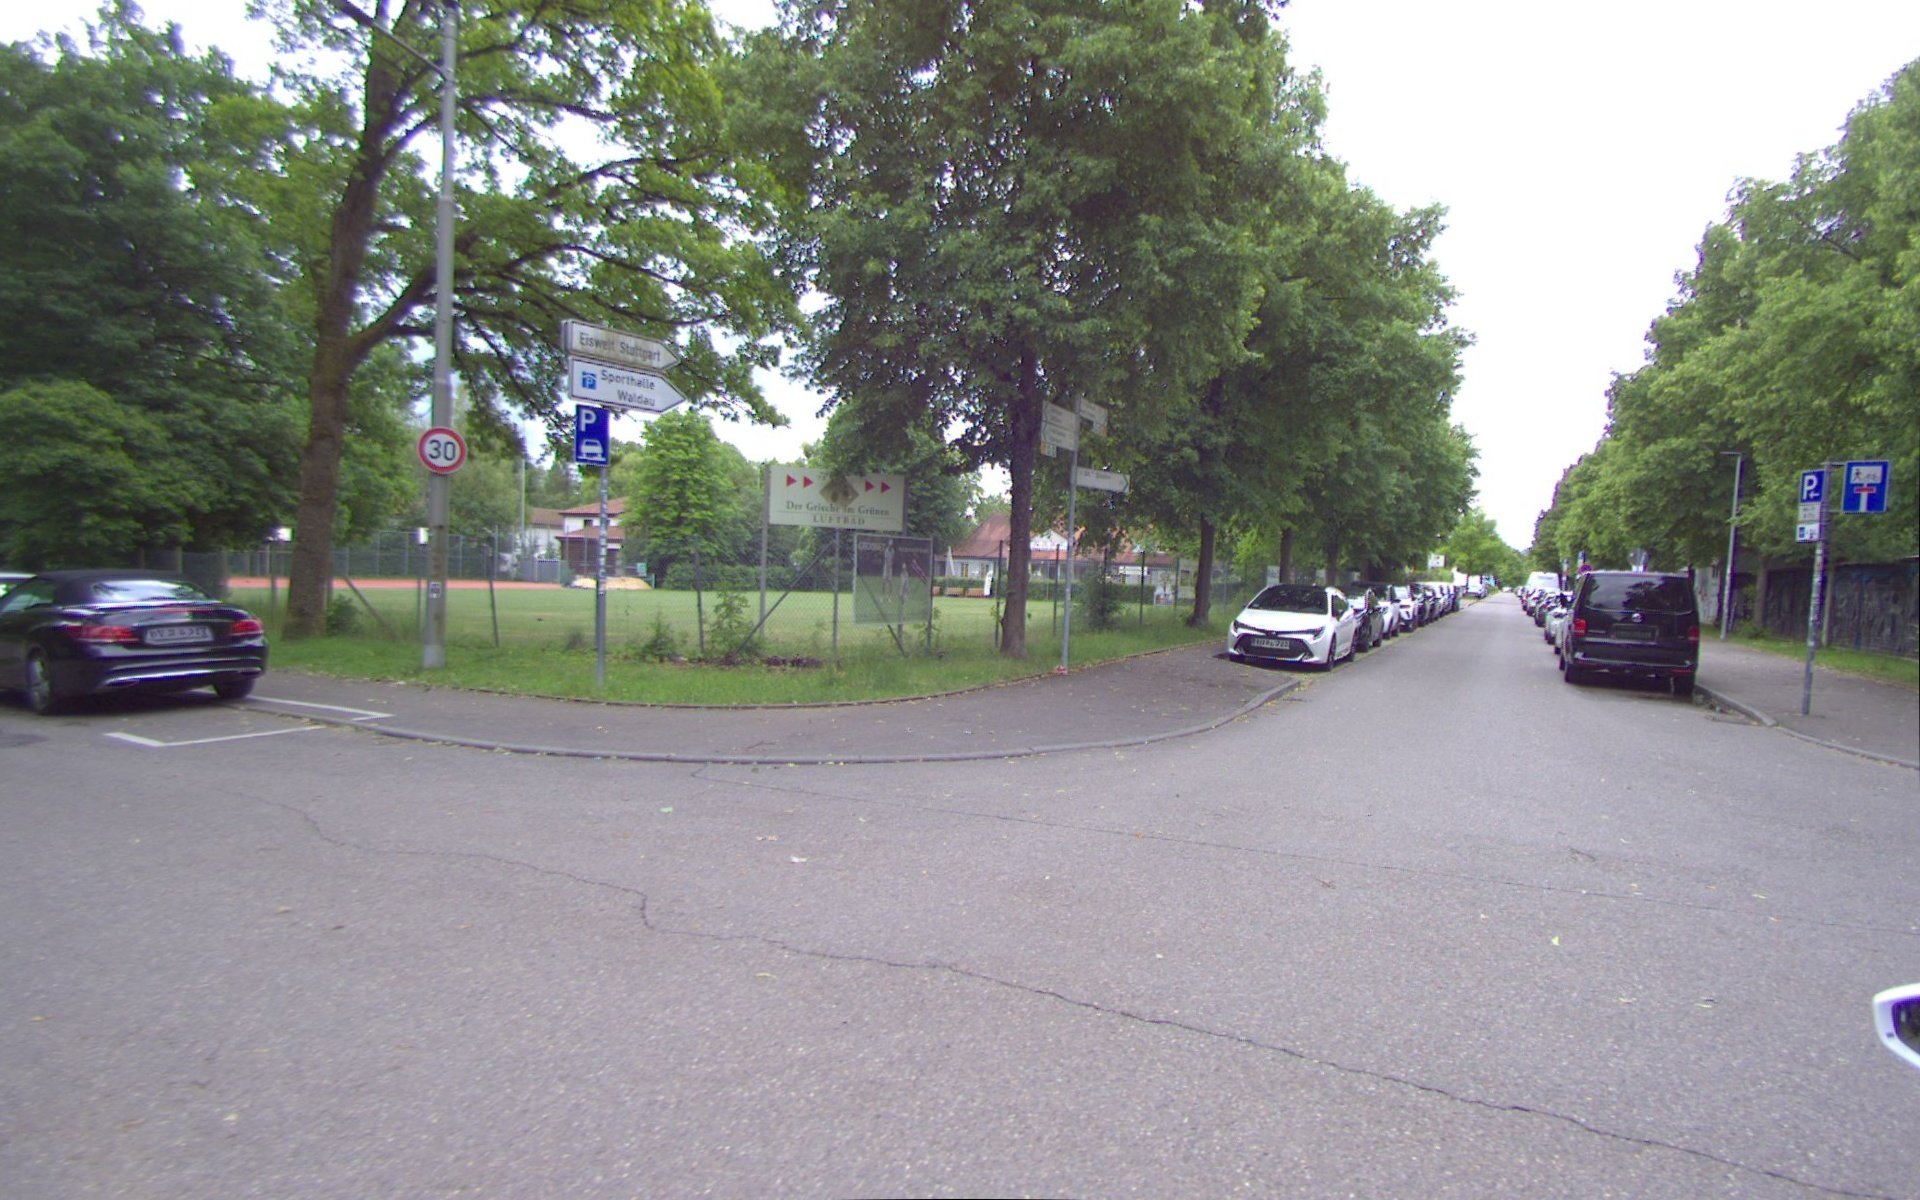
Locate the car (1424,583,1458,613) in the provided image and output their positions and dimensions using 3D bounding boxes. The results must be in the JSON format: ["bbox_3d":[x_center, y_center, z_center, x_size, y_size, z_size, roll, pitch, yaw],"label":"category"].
[{"bbox_3d":[26.956,-0.131,56.267,1.569,1.580,3.189,2,1,28],"label":"car"}]

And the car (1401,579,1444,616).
[{"bbox_3d":[21.961,-0.128,47.644,1.569,1.580,3.189,5,3,28],"label":"car"}]

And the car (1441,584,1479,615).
[{"bbox_3d":[25.626,-0.046,51.393,1.448,1.501,3.181,2,2,31],"label":"car"}]

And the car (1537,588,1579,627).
[{"bbox_3d":[25.502,0.297,42.848,1.448,1.552,3.181,2,2,31],"label":"car"}]

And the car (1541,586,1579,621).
[{"bbox_3d":[28.336,0.137,47.459,1.448,1.552,3.181,2,2,31],"label":"car"}]

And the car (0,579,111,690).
[{"bbox_3d":[-13.723,0.427,13.886,4.144,1.377,1.688,0,2,30],"label":"car"}]

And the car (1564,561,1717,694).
[{"bbox_3d":[11.935,0.400,17.867,1.959,2.041,4.098,2,2,31],"label":"car"}]

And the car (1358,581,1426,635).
[{"bbox_3d":[14.591,0.232,33.845,1.666,1.617,3.993,5,3,28],"label":"car"}]

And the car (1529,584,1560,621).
[{"bbox_3d":[33.154,0.149,56.941,1.448,1.994,3.181,2,2,31],"label":"car"}]

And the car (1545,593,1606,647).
[{"bbox_3d":[18.662,0.565,30.495,1.448,1.501,3.181,2,2,31],"label":"car"}]

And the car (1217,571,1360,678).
[{"bbox_3d":[6.150,0.374,18.481,1.738,1.617,4.210,5,3,27],"label":"car"}]

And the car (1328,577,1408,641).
[{"bbox_3d":[12.036,0.231,29.514,1.666,1.617,3.993,5,3,28],"label":"car"}]

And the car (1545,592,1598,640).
[{"bbox_3d":[21.216,0.518,34.899,1.448,1.552,3.181,2,2,31],"label":"car"}]

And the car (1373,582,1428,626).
[{"bbox_3d":[16.678,0.116,37.953,1.569,1.477,3.189,5,3,28],"label":"car"}]

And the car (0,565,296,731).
[{"bbox_3d":[-9.327,0.414,11.069,4.252,1.515,1.767,0,2,33],"label":"car"}]

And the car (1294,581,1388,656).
[{"bbox_3d":[8.909,0.377,23.346,1.522,1.474,3.660,5,3,27],"label":"car"}]

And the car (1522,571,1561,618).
[{"bbox_3d":[39.832,-0.415,68.736,2.153,3.056,4.885,2,2,31],"label":"car"}]
